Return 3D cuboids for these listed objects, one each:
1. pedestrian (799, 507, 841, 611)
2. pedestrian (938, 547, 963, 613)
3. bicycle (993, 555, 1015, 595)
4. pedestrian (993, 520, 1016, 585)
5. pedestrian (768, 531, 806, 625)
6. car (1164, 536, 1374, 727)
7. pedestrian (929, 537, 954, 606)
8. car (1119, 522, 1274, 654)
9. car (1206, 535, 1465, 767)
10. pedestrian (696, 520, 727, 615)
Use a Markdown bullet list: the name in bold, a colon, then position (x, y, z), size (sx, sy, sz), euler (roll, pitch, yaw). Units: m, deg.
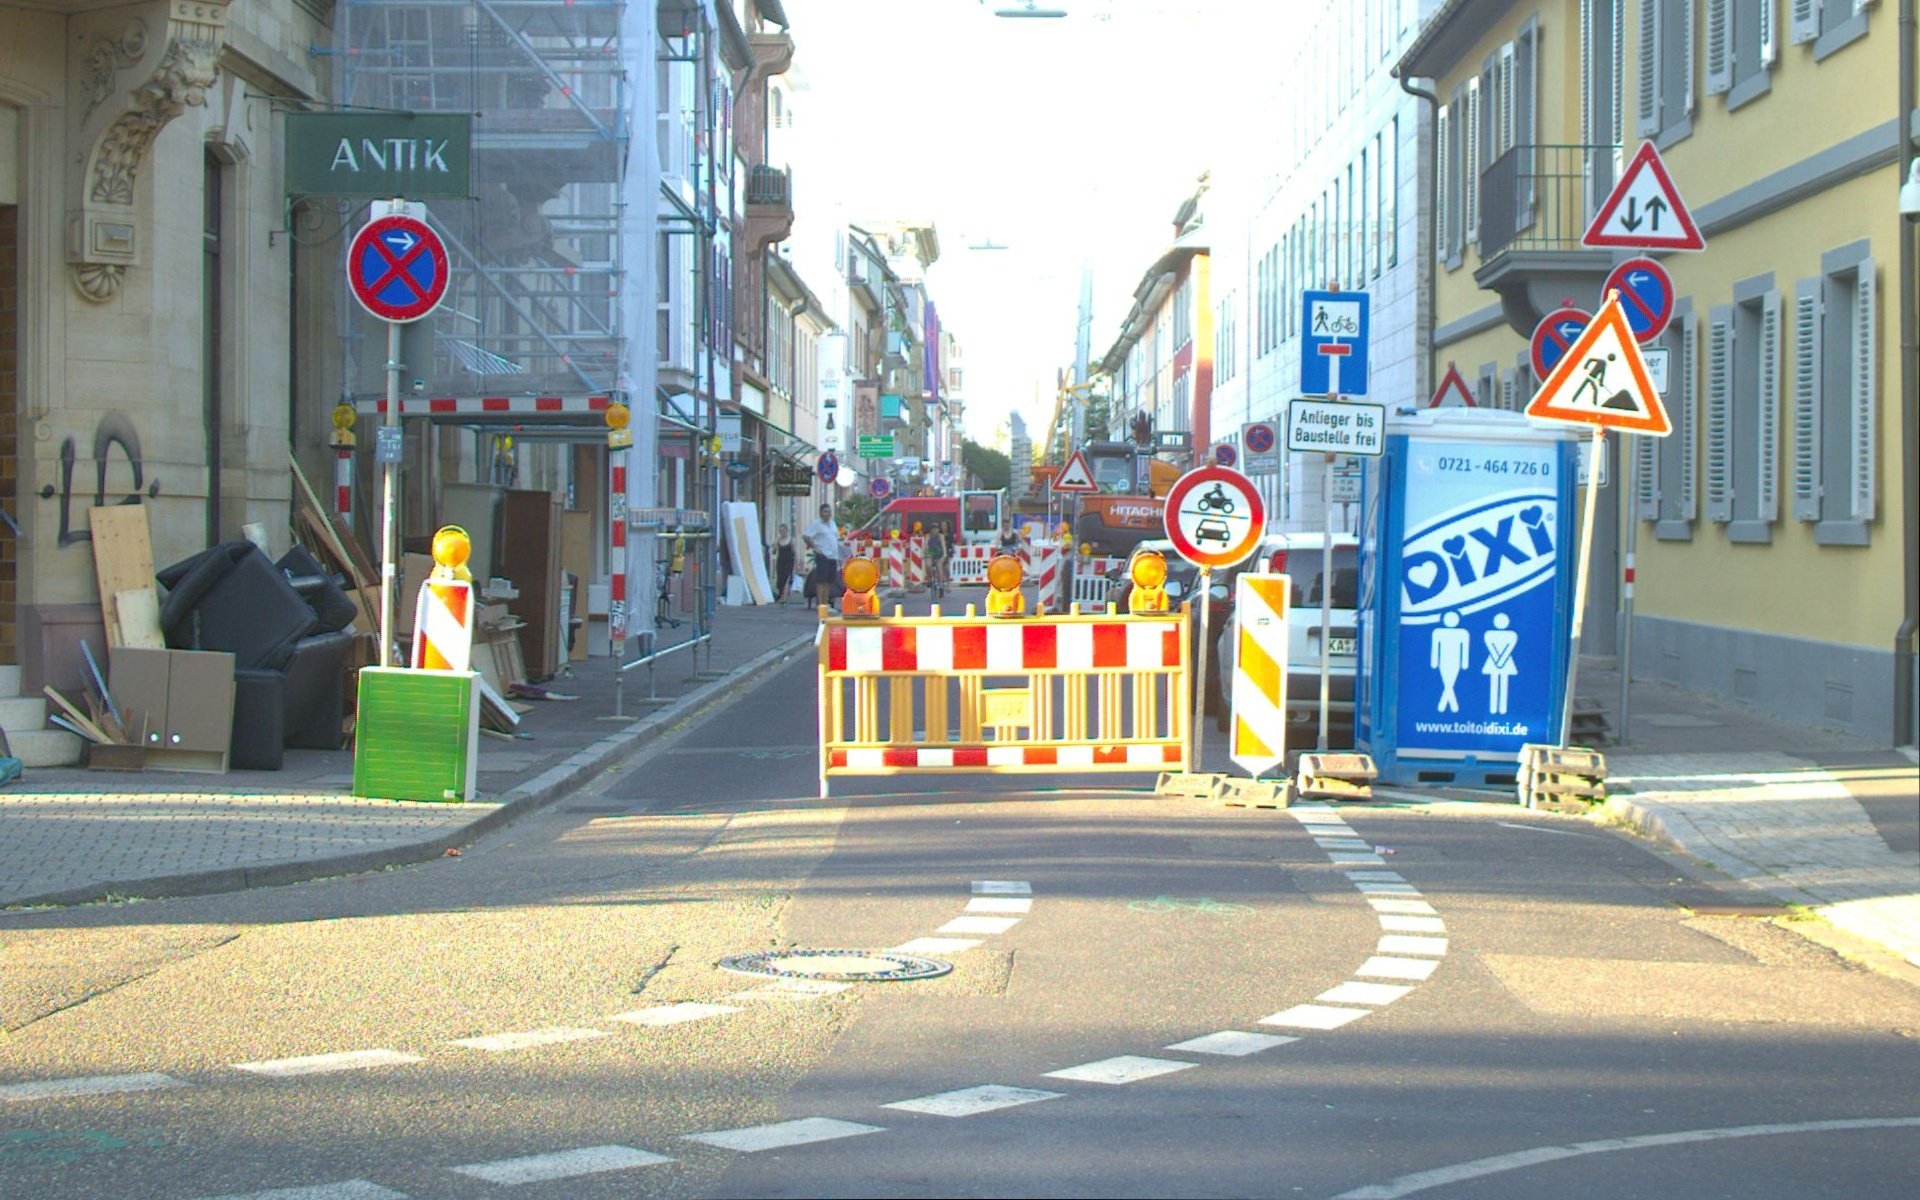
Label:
- **pedestrian**: position (-2.377, -0.696, 58.485), size (0.504, 1.758, 0.512), euler (-1, 1, -40)
- **pedestrian**: position (-0.208, -0.449, 75.969), size (0.504, 1.456, 0.512), euler (0, 1, 7)
- **bicycle**: position (1.004, -0.564, 78.111), size (0.504, 0.881, 1.477), euler (0, 1, 1)
- **pedestrian**: position (1.004, -1.084, 77.980), size (0.504, 1.456, 0.512), euler (0, 1, 2)
- **pedestrian**: position (-3.208, -0.402, 63.789), size (0.676, 1.727, 0.700), euler (1, 0, -2)
- **car**: position (2.603, 0.219, 29.613), size (1.540, 1.515, 3.979), euler (0, 1, 1)
- **pedestrian**: position (-0.393, -0.609, 73.057), size (0.504, 1.456, 0.512), euler (0, 1, 1)
- **car**: position (2.793, -0.179, 41.146), size (1.717, 1.515, 3.221), euler (0, 1, 1)
- **car**: position (2.641, 0.311, 24.720), size (1.540, 1.515, 3.221), euler (2, 1, 1)
- **pedestrian**: position (-4.094, -0.535, 56.685), size (0.343, 1.561, 0.420), euler (1, 0, 23)
